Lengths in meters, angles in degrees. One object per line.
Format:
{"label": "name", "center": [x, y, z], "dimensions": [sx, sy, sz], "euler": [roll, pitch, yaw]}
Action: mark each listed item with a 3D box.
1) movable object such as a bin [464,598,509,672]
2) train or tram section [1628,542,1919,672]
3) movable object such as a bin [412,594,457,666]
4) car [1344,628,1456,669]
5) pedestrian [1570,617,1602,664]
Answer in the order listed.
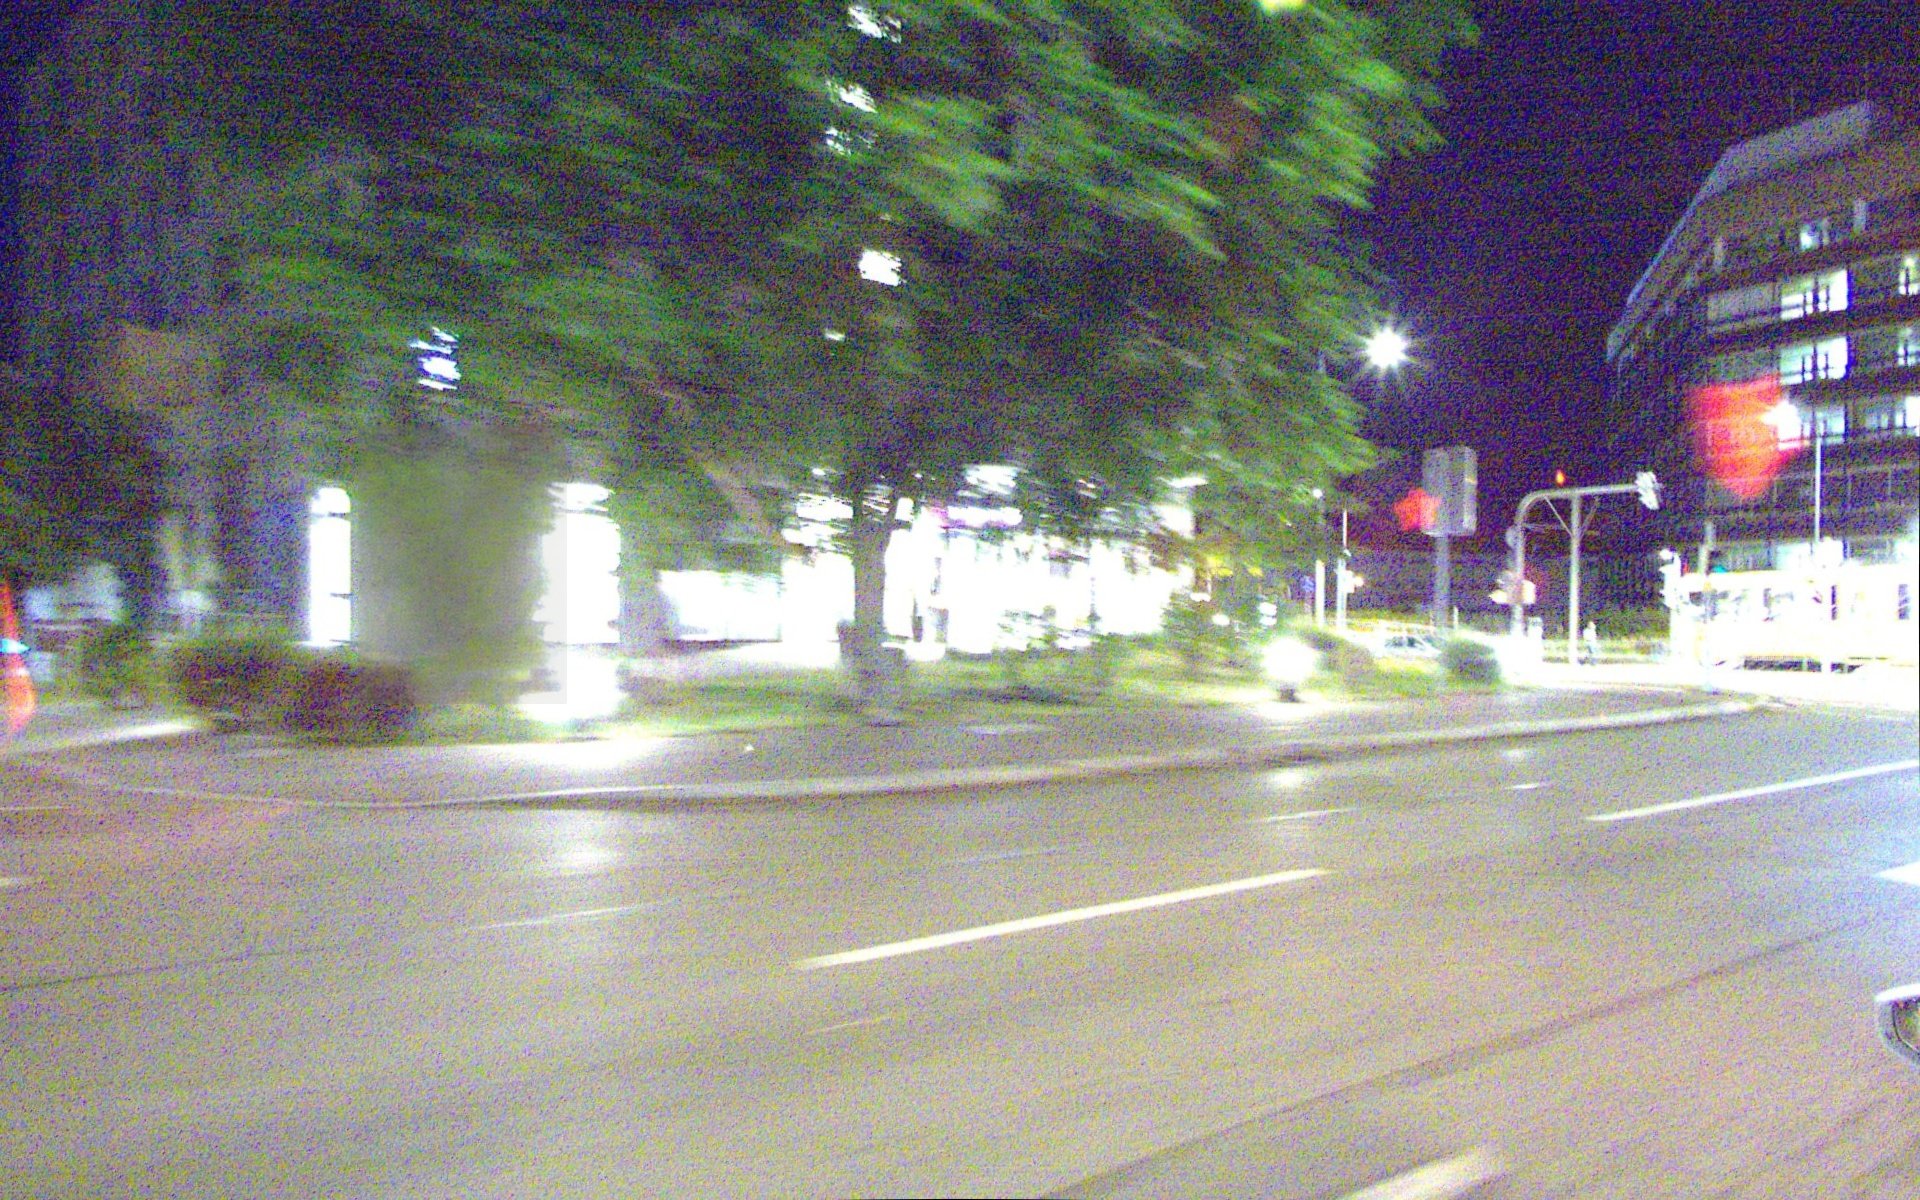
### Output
{"label": "movable object such as a bin", "center": [-9.537, 0.694, 20.233], "dimensions": [0.798, 1.471, 0.439], "euler": [-1, -1, -27]}
{"label": "train or tram section", "center": [30.738, 0.201, 29.827], "dimensions": [2.899, 3.912, 19.745], "euler": [1, -2, -24]}
{"label": "movable object such as a bin", "center": [-10.429, 0.593, 19.943], "dimensions": [0.723, 1.389, 0.354], "euler": [-3, 0, -29]}
{"label": "car", "center": [17.071, 1.860, 39.141], "dimensions": [1.881, 1.500, 3.755], "euler": [1, -2, -22]}
{"label": "pedestrian", "center": [23.735, 1.537, 38.098], "dimensions": [0.651, 1.760, 0.761], "euler": [0, -2, -29]}
